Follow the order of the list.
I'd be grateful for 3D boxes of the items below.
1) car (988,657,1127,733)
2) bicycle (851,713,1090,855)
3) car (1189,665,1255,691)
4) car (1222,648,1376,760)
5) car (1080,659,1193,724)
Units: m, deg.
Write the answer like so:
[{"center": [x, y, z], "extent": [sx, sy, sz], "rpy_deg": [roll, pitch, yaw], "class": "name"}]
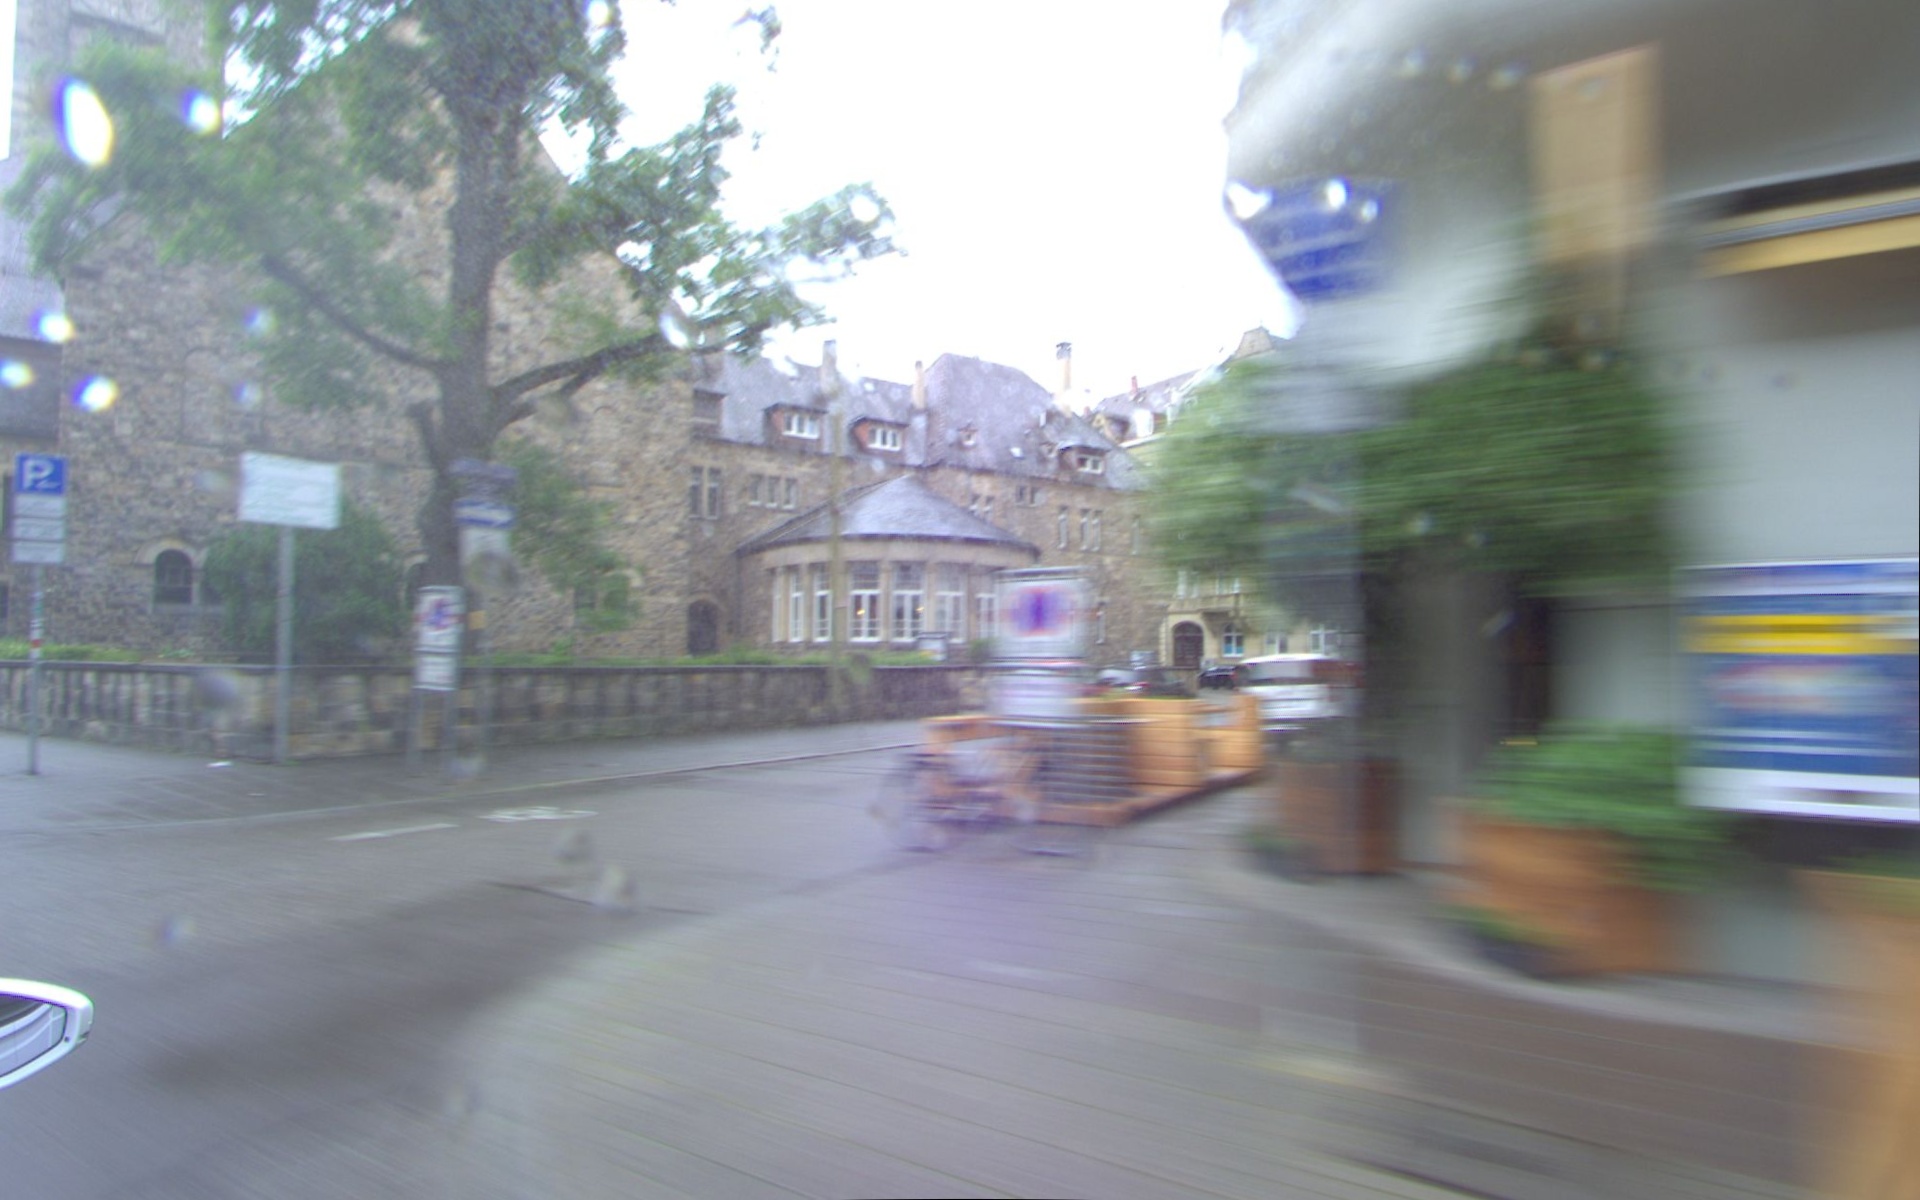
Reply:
[{"center": [2.365, 2.158, 23.465], "extent": [1.690, 1.575, 3.837], "rpy_deg": [0, -3, 32], "class": "car"}, {"center": [0.039, 1.408, 7.867], "extent": [1.894, 0.990, 0.451], "rpy_deg": [-5, -5, 31], "class": "bicycle"}, {"center": [15.034, 4.490, 57.560], "extent": [1.694, 1.342, 3.391], "rpy_deg": [3, -3, -35], "class": "car"}, {"center": [6.034, 1.775, 17.551], "extent": [1.788, 1.718, 3.839], "rpy_deg": [-5, -5, 29], "class": "car"}, {"center": [4.901, 2.434, 27.398], "extent": [1.690, 1.575, 3.958], "rpy_deg": [0, -3, 32], "class": "car"}]
